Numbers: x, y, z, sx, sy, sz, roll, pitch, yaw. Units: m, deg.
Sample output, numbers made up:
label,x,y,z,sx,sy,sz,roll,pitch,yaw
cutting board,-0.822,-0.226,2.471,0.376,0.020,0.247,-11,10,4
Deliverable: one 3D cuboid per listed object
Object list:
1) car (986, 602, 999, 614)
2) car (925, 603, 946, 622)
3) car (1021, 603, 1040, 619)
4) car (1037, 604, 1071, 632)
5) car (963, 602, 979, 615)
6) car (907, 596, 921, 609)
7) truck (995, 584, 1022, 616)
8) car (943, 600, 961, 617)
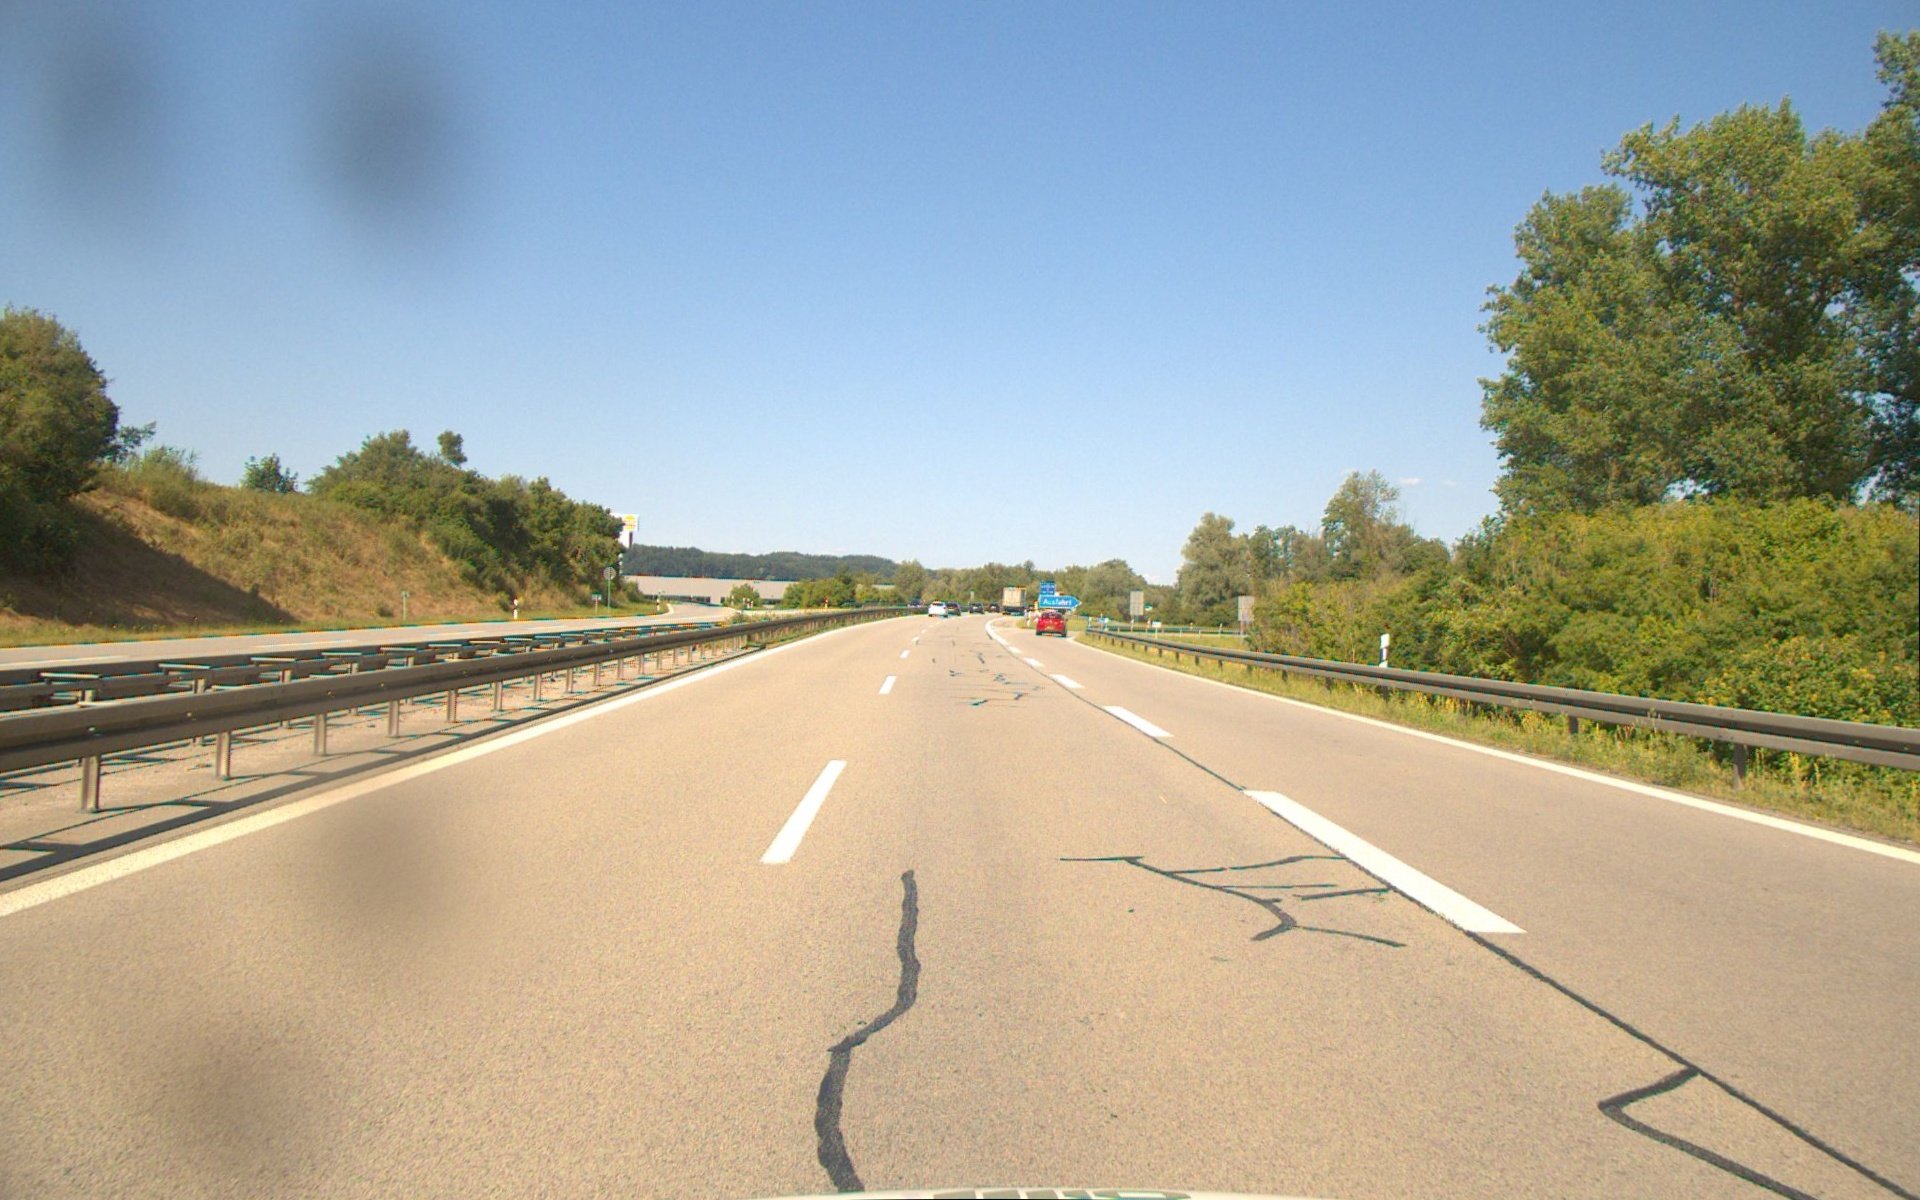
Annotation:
label,x,y,z,sx,sy,sz,roll,pitch,yaw
car,4.986,1.177,252.873,1.952,1.780,4.001,2,0,1
car,-2.349,1.185,159.180,2.020,1.653,3.999,0,-2,-1
car,8.230,1.331,193.962,1.953,1.780,3.999,2,0,-1
car,5.604,1.077,98.657,1.746,1.456,4.002,4,-1,6
car,1.483,1.147,223.059,1.953,1.780,3.999,2,0,-1
car,-6.532,0.425,234.448,1.841,1.653,3.999,0,-2,-1
truck,6.992,0.011,238.211,3.758,4.474,11.474,0,0,2
car,-0.881,0.908,180.212,1.953,1.780,3.999,2,0,-1
